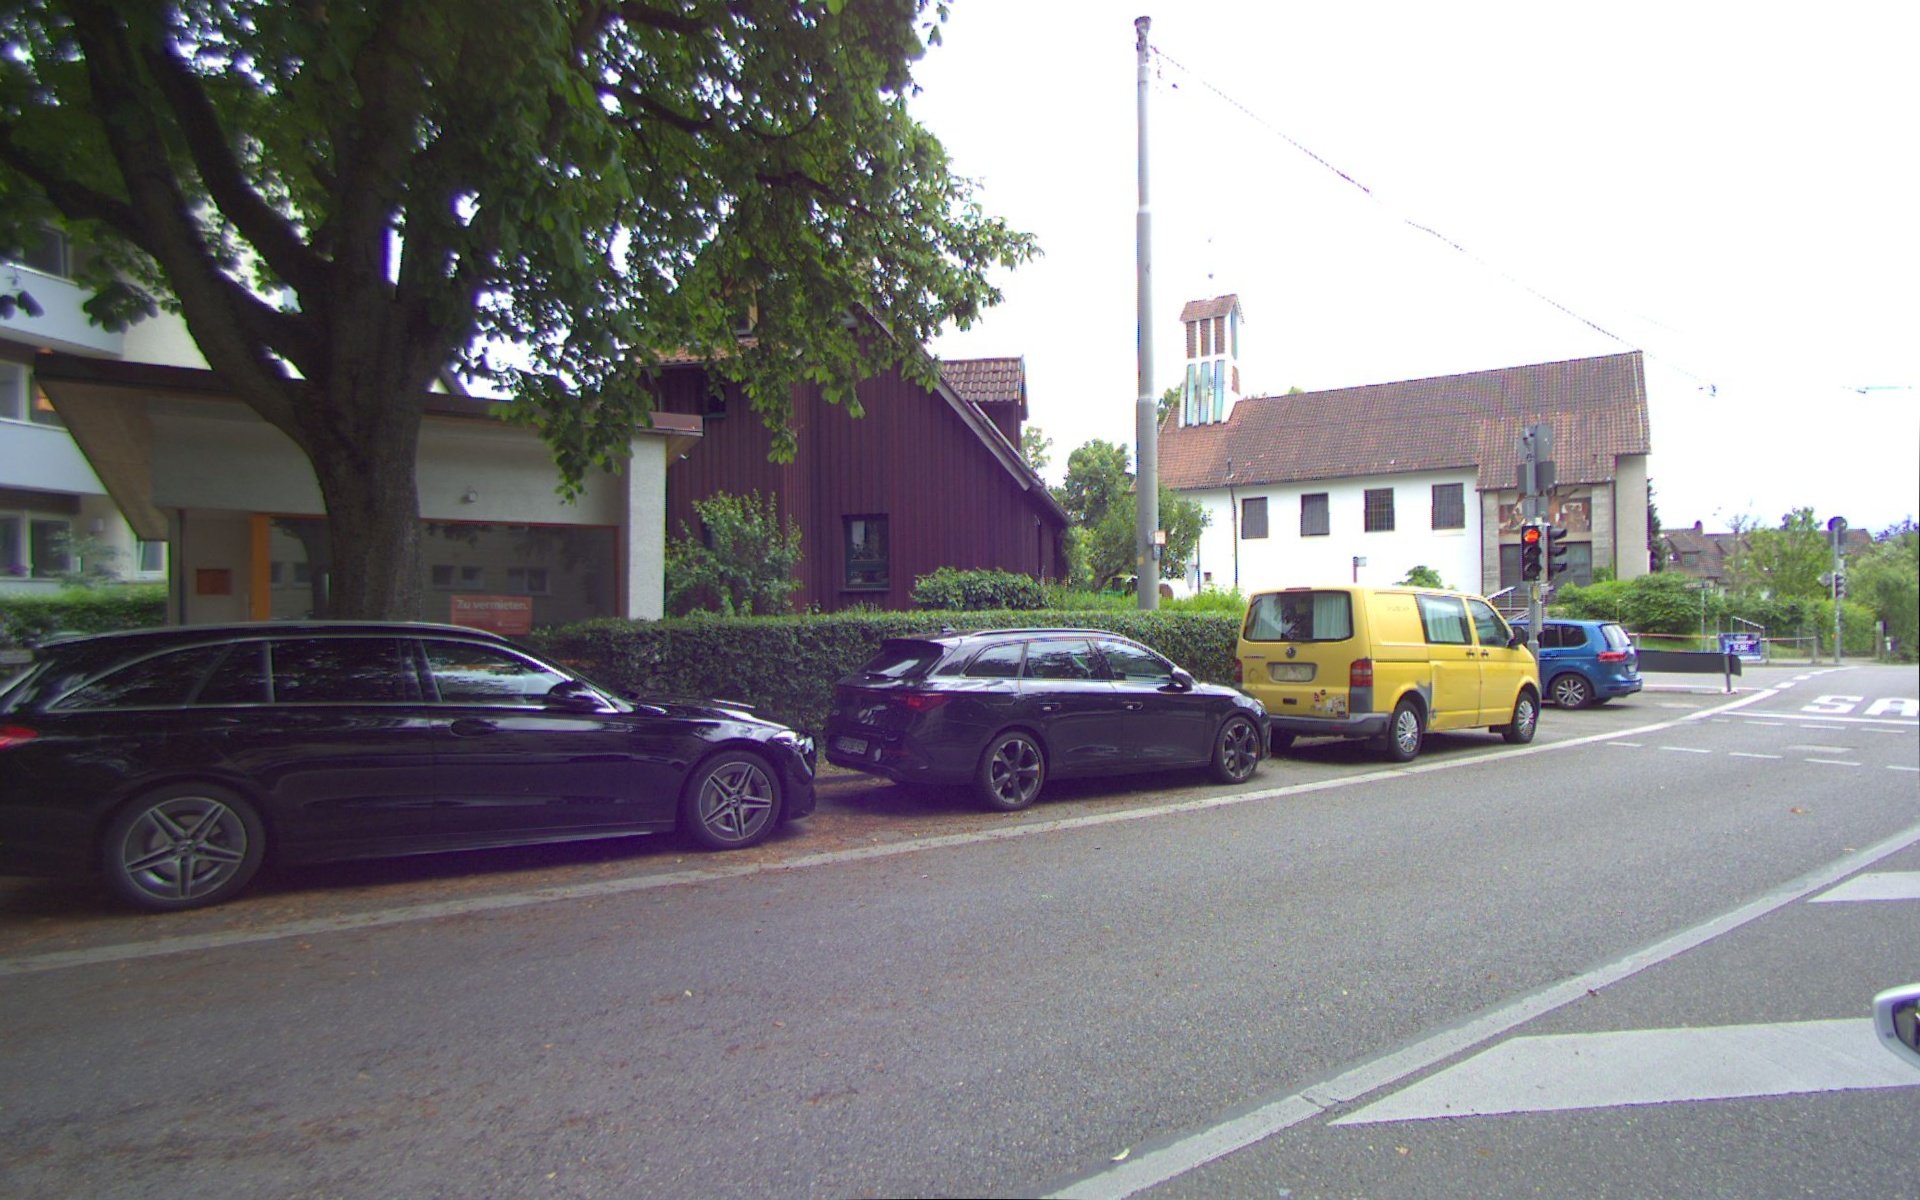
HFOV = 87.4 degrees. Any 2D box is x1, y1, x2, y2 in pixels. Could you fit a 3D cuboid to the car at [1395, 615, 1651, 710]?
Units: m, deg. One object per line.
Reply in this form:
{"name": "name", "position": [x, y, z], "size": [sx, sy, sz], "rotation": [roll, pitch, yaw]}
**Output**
{"name": "car", "position": [10.723, 1.169, 19.312], "size": [1.807, 1.632, 3.947], "rotation": [2, -3, -45]}

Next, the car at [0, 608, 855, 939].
{"name": "car", "position": [-3.166, 0.855, 6.545], "size": [4.562, 1.520, 1.984], "rotation": [1, -2, -31]}

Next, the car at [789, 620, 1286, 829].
{"name": "car", "position": [0.848, 0.956, 9.206], "size": [4.496, 1.505, 1.680], "rotation": [1, -2, -34]}

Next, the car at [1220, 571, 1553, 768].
{"name": "car", "position": [5.444, 0.782, 12.572], "size": [4.524, 2.040, 1.870], "rotation": [1, -2, -38]}
